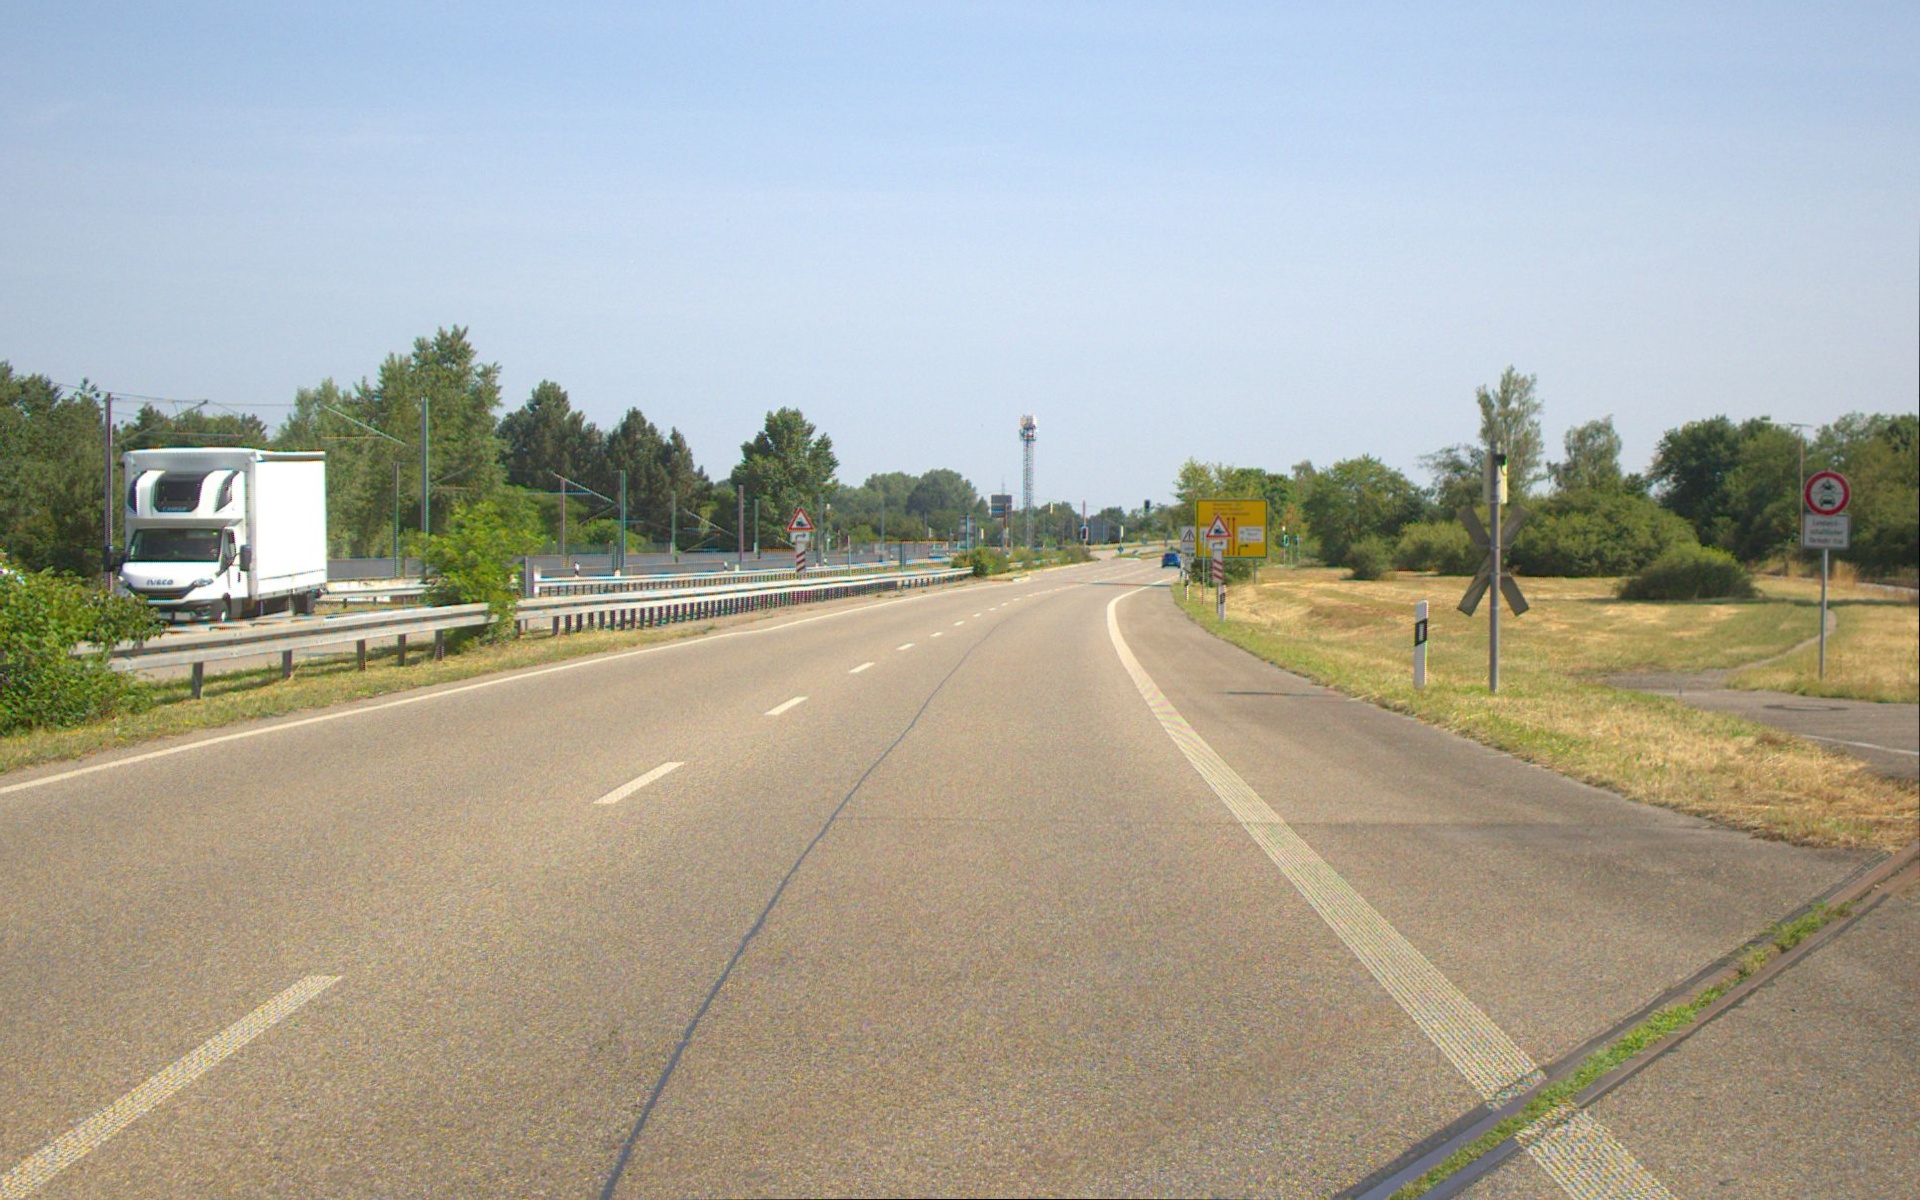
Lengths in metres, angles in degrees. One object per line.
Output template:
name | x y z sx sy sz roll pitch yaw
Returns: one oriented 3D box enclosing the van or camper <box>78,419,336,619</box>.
van or camper | -14.667 -1.577 67.705 2.876 3.668 8.643 0 1 2
